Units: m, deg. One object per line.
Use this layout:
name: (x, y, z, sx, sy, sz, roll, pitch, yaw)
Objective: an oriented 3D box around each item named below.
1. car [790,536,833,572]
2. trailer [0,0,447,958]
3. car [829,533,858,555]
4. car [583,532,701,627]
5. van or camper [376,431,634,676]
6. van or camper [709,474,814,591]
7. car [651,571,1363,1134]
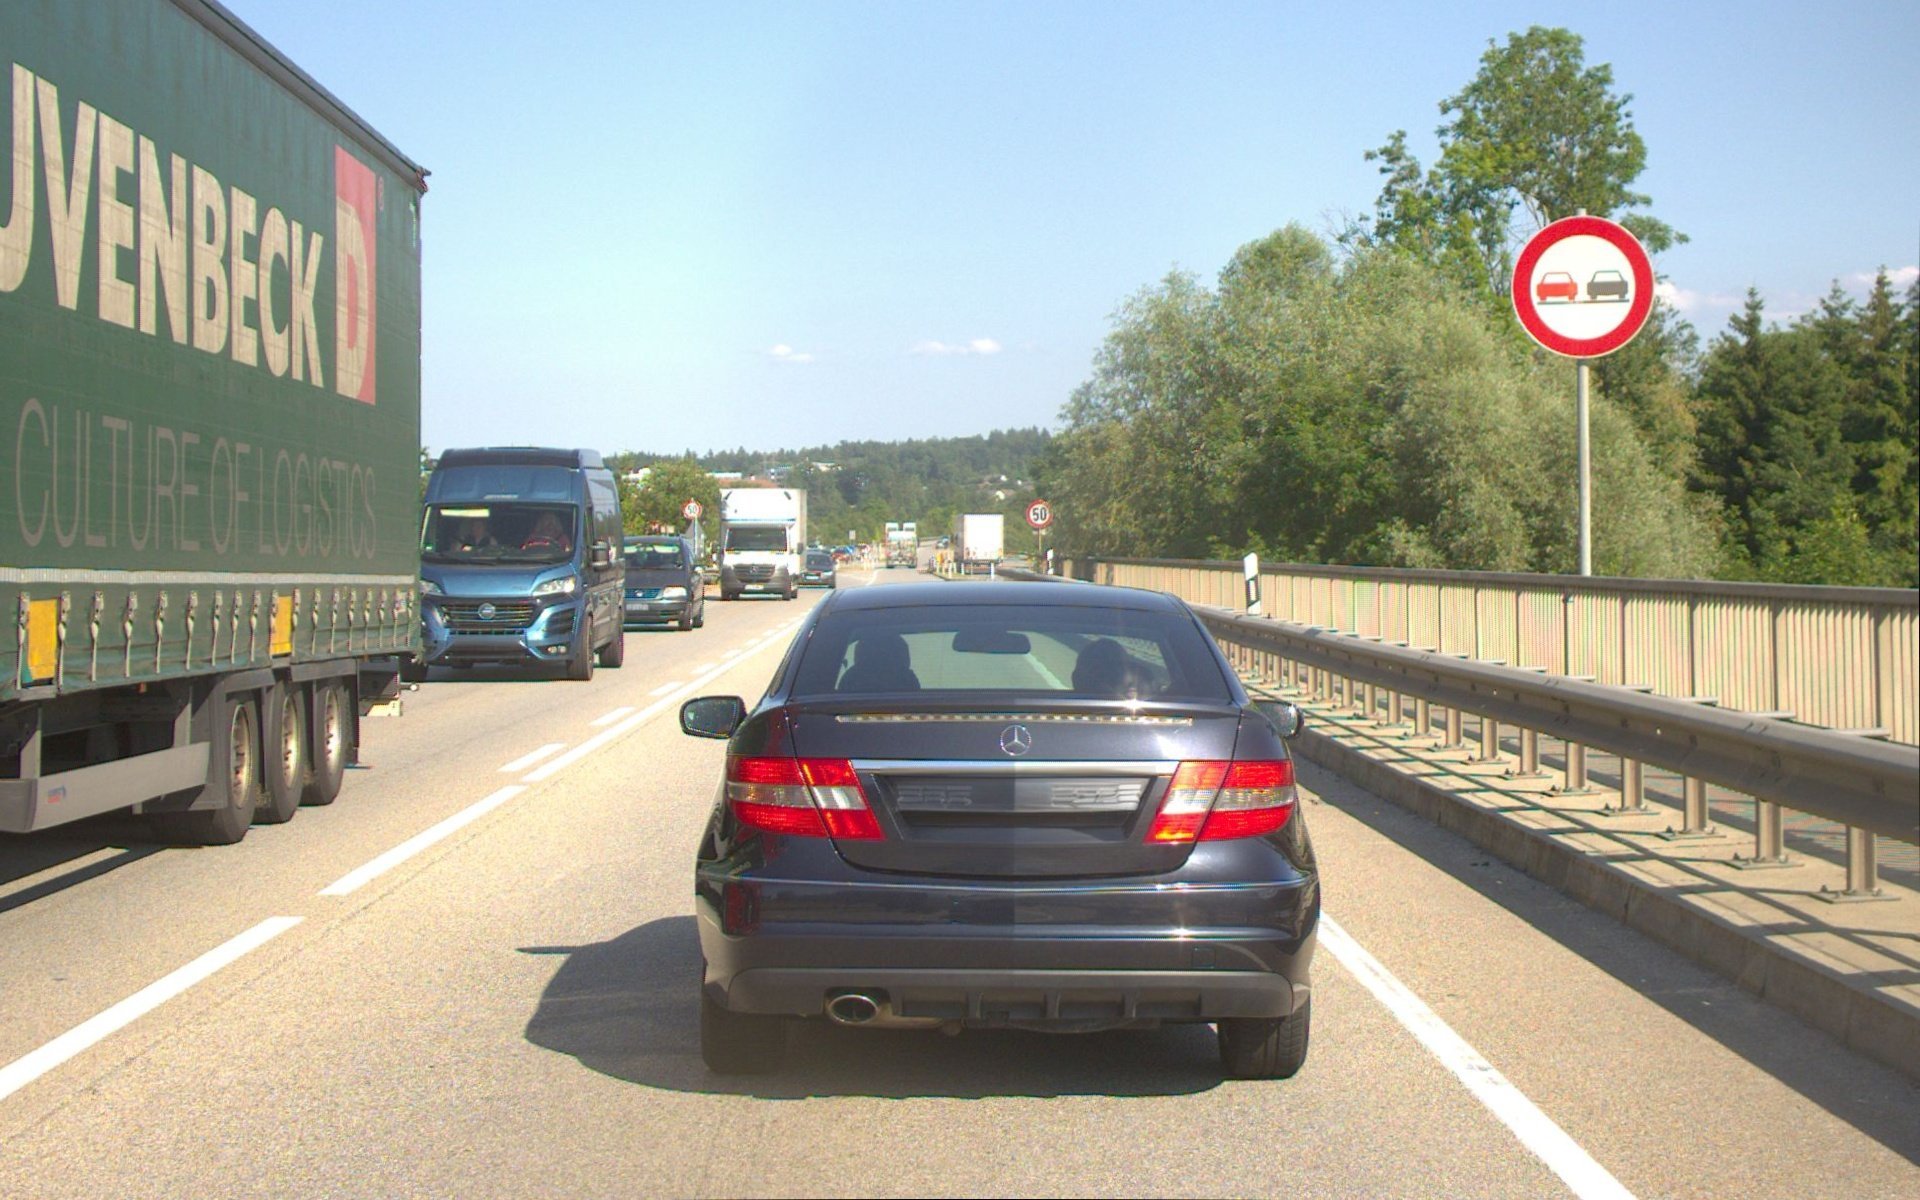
car: (-6.038, -1.866, 139.440, 1.659, 1.431, 4.189, 0, 1, -3)
trailer: (-4.851, -0.958, 15.806, 2.907, 4.287, 14.303, 0, 1, 0)
car: (-8.546, -4.141, 253.183, 1.804, 1.601, 3.915, 0, 1, 3)
car: (-5.675, -0.403, 61.787, 1.841, 1.636, 4.577, 0, 1, -2)
van or camper: (-5.217, -0.557, 40.297, 2.430, 2.633, 6.405, 0, 1, -2)
van or camper: (-5.715, -1.965, 100.119, 2.635, 3.245, 7.750, 0, 1, 0)
car: (0.135, 0.623, 10.698, 1.793, 1.371, 4.000, 0, 1, 1)
